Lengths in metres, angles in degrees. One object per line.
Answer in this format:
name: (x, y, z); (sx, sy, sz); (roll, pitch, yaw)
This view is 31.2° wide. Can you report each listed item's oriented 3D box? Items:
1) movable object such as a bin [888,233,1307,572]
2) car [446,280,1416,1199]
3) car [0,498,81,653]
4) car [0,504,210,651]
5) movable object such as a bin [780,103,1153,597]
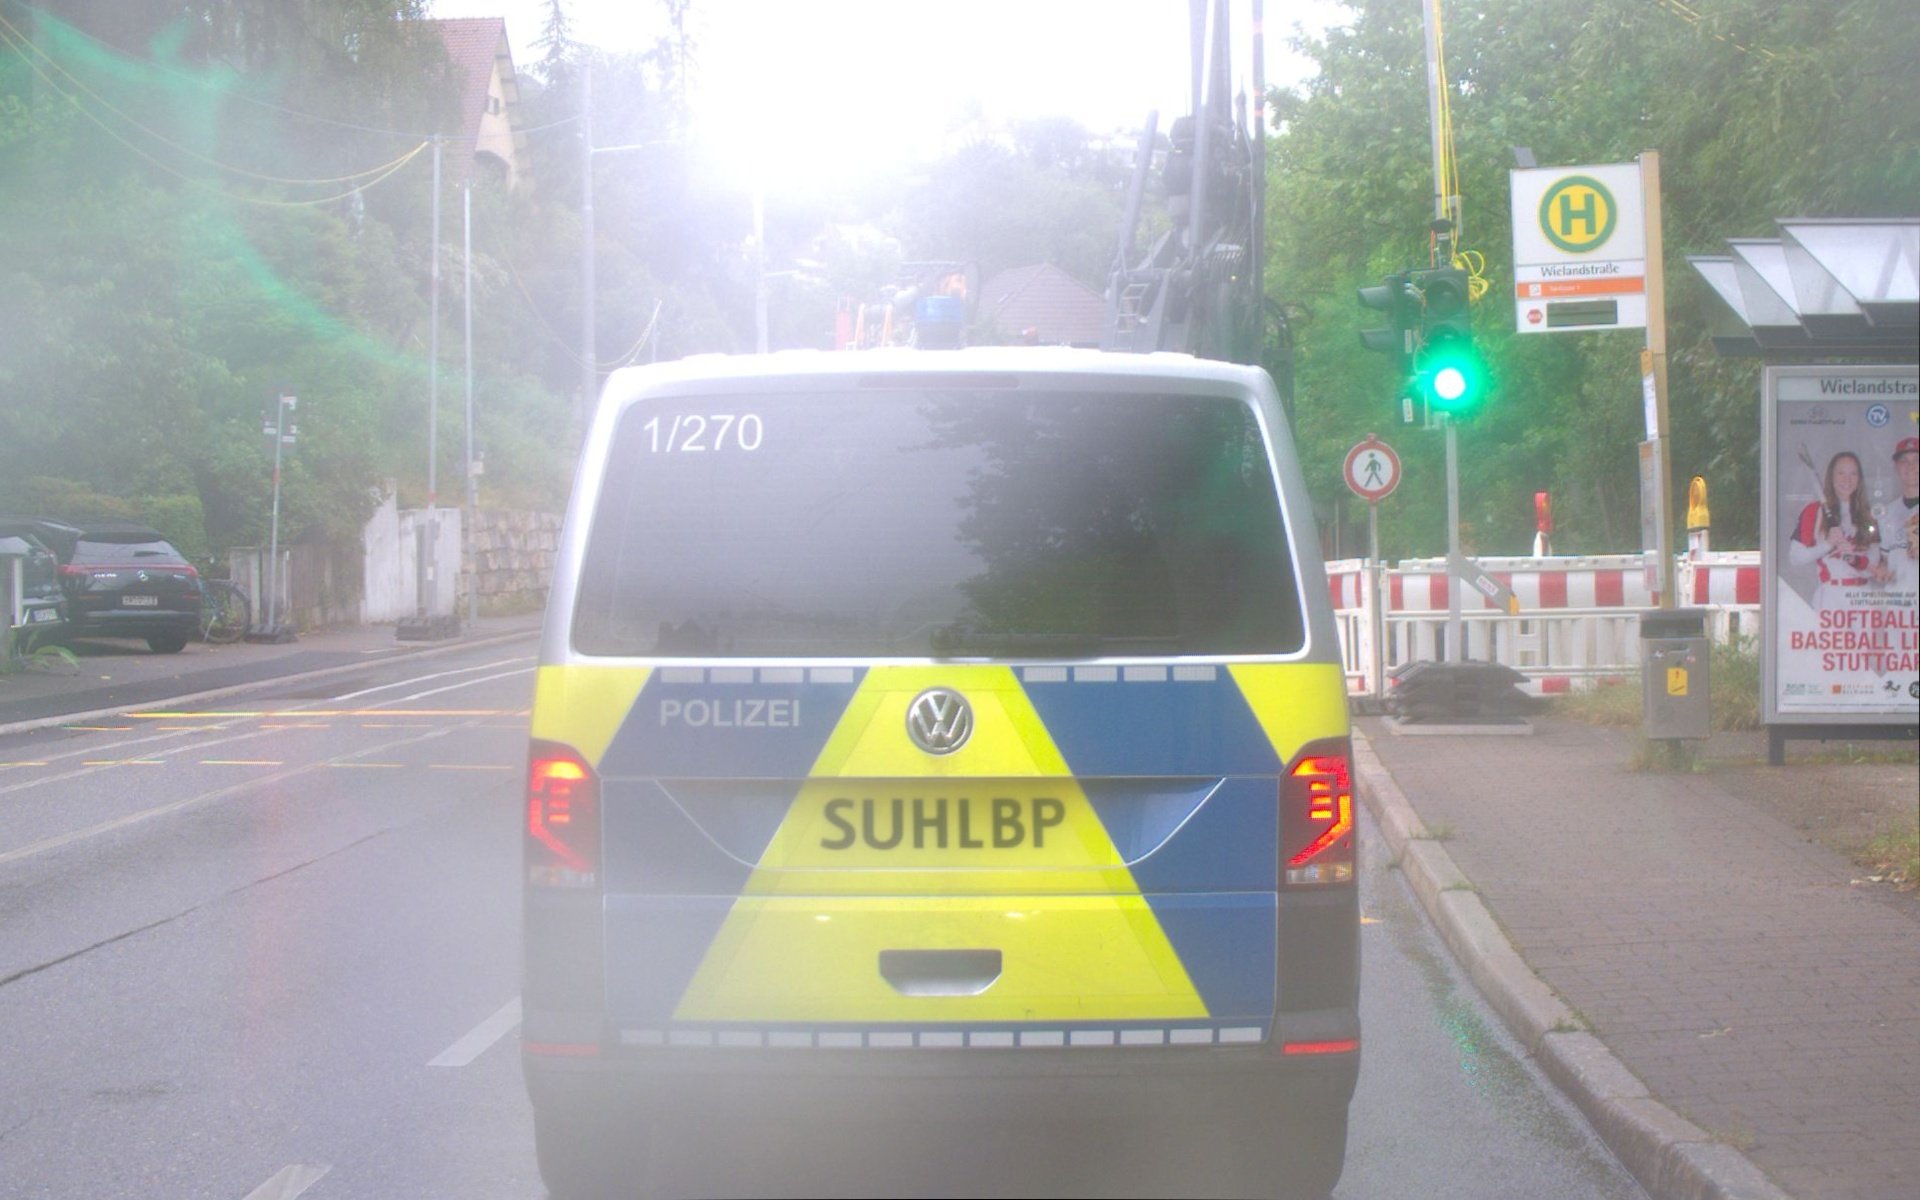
movable object such as a bin: (2.363, -3.045, 55.815); (3.689, 5.049, 7.150); (-1, 0, 32)
car: (-0.084, 0.357, 9.072); (1.908, 2.003, 4.440); (1, 1, -1)
car: (-11.181, -0.277, 34.752); (3.989, 1.520, 1.940); (1, 0, 13)
car: (-9.959, -0.270, 37.665); (1.781, 1.520, 3.999); (0, 1, -39)
movable object such as a bin: (0.175, -2.208, 31.665); (2.879, 4.156, 4.486); (-1, 2, 6)
